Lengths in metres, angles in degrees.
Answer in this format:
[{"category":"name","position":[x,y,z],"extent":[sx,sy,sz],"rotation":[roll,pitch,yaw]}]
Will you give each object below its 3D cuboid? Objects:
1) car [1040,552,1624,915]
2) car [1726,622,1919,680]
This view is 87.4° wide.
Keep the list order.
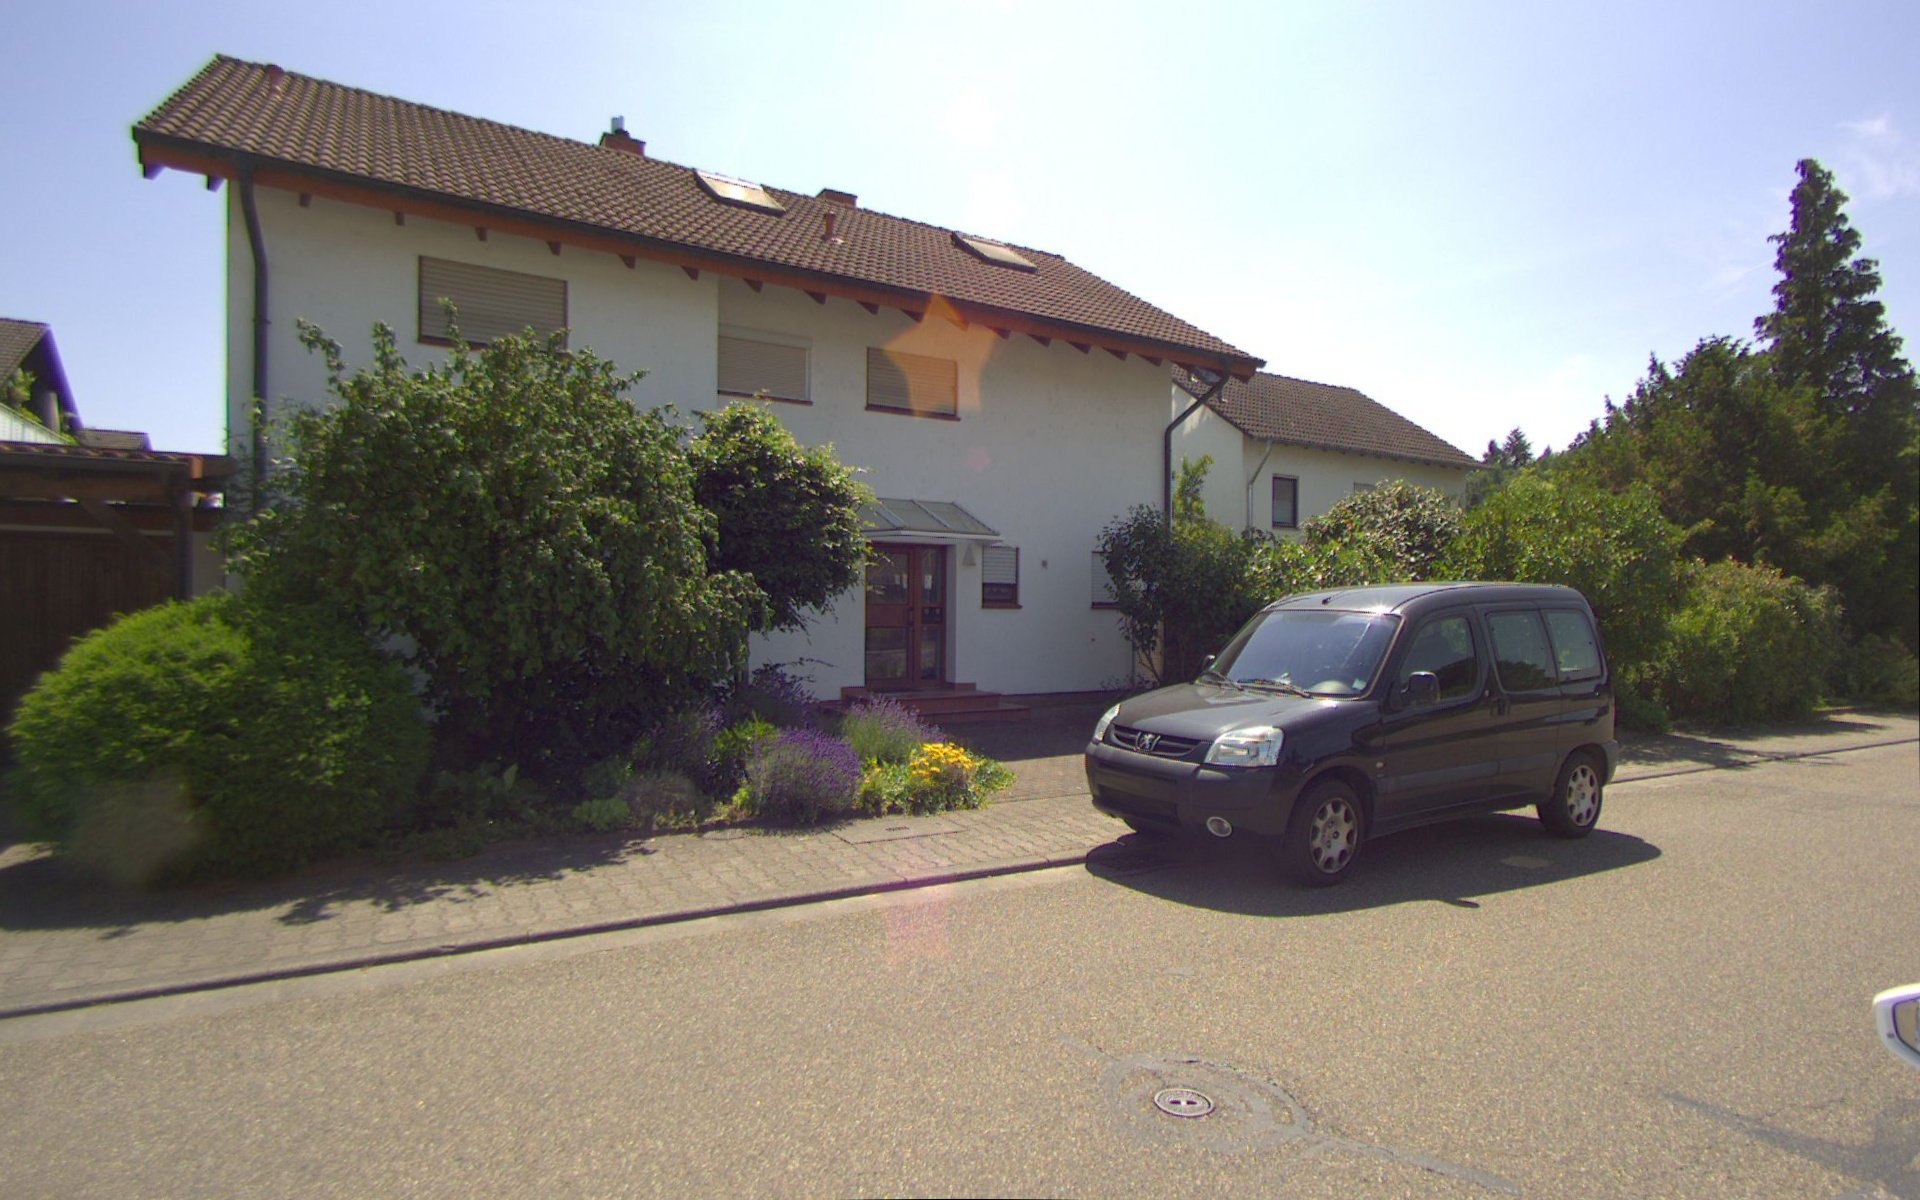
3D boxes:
[{"category":"car","position":[2.680,0.731,6.969],"extent":[4.009,1.870,1.709],"rotation":[1,-1,-32]},{"category":"car","position":[28.056,1.601,32.668],"extent":[1.946,1.684,4.646],"rotation":[1,-1,-29]}]
